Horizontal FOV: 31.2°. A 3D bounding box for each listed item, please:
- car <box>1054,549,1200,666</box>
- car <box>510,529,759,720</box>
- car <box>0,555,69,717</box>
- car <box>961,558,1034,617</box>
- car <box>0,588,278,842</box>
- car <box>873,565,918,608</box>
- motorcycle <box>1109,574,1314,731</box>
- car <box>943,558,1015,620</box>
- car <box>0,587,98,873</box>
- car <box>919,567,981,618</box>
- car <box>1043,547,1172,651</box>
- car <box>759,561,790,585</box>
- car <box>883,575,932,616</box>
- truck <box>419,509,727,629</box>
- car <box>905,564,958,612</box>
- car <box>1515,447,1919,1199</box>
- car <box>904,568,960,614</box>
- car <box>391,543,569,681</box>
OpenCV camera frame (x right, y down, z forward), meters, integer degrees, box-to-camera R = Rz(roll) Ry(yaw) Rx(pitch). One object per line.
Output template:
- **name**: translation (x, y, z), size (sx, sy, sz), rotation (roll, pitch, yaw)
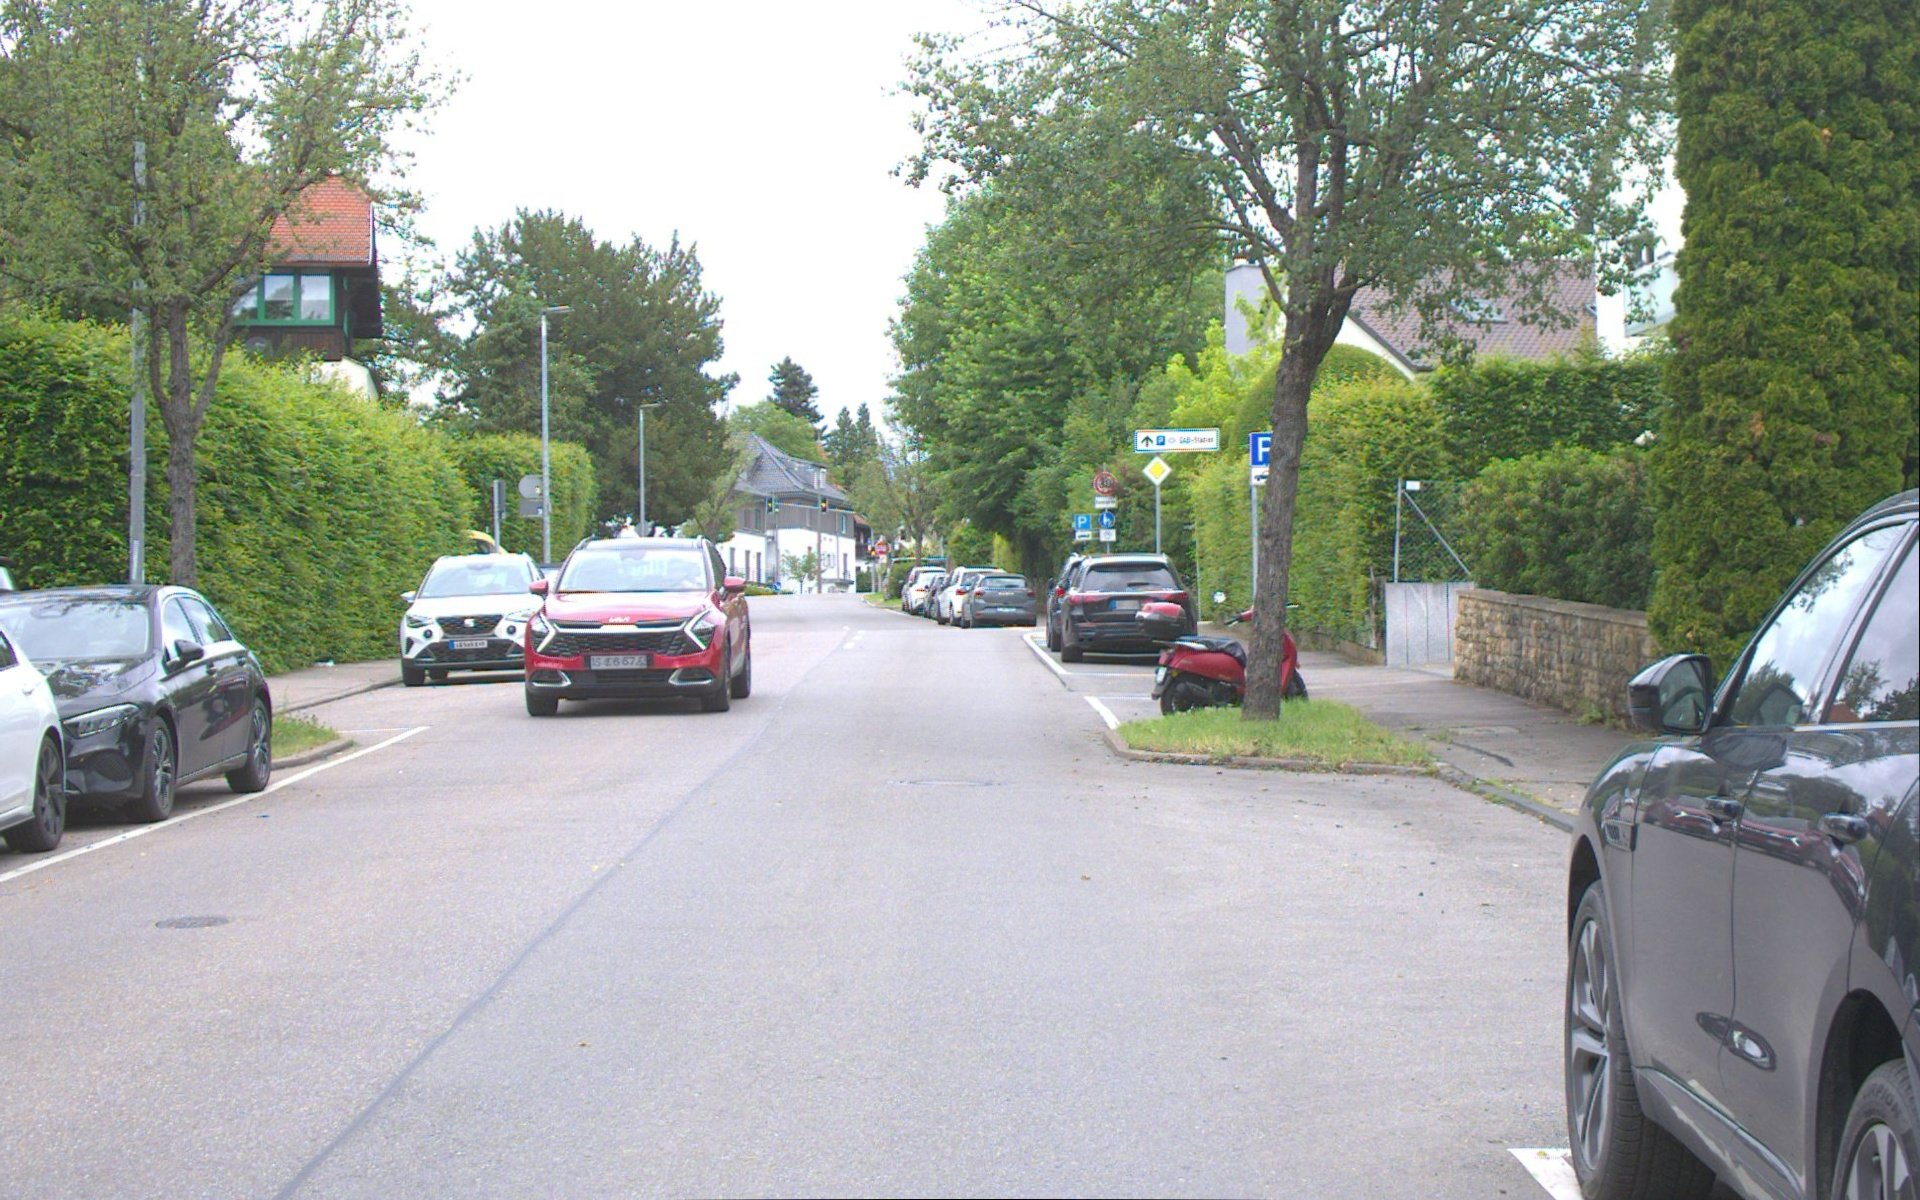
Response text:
- **car**: translation (2.316, 0.066, 48.573), size (1.883, 1.528, 4.475), rotation (1, 1, 1)
- **car**: translation (-3.056, 0.189, 33.132), size (1.941, 1.641, 4.258), rotation (-2, 1, 0)
- **car**: translation (-11.165, 0.293, 34.374), size (3.987, 1.528, 1.787), rotation (2, 2, 4)
- **car**: translation (0.980, -0.354, 91.902), size (1.664, 1.495, 3.468), rotation (0, 1, -4)
- **car**: translation (-5.619, 0.668, 21.777), size (1.727, 1.418, 4.079), rotation (-2, 0, 0)
- **car**: translation (-2.608, -0.554, 138.643), size (1.643, 1.662, 3.468), rotation (0, 1, -4)
- **motorcycle**: translation (2.260, 0.449, 30.800), size (1.863, 1.342, 0.599), rotation (-1, 1, -36)
- **car**: translation (0.512, -0.327, 96.436), size (1.713, 1.652, 3.623), rotation (0, 1, -4)
- **car**: translation (-5.779, 0.704, 17.204), size (1.837, 1.417, 4.408), rotation (-2, 1, -1)
- **car**: translation (-0.316, -0.238, 105.925), size (1.664, 1.495, 3.468), rotation (0, 1, -4)
- **car**: translation (2.292, -0.049, 54.430), size (1.883, 1.528, 4.475), rotation (1, 1, 1)
- **car**: translation (-11.468, -1.664, 212.156), size (1.822, 1.415, 4.001), rotation (0, 1, -4)
- **car**: translation (-1.999, -0.183, 130.680), size (1.664, 1.495, 3.468), rotation (0, 1, -4)
- **truck**: translation (-8.066, -0.607, 71.424), size (5.930, 2.301, 2.826), rotation (1, -2, -17)
- **car**: translation (-1.030, -0.439, 123.615), size (1.664, 1.662, 3.468), rotation (0, 1, -4)
- **car**: translation (2.319, 0.610, 6.195), size (1.993, 1.612, 4.513), rotation (2, 1, 2)
- **car**: translation (-0.950, -0.310, 116.479), size (1.664, 1.495, 3.468), rotation (0, 1, -4)
- **car**: translation (-5.764, 0.102, 41.651), size (1.722, 1.535, 4.001), rotation (-2, 1, -2)
